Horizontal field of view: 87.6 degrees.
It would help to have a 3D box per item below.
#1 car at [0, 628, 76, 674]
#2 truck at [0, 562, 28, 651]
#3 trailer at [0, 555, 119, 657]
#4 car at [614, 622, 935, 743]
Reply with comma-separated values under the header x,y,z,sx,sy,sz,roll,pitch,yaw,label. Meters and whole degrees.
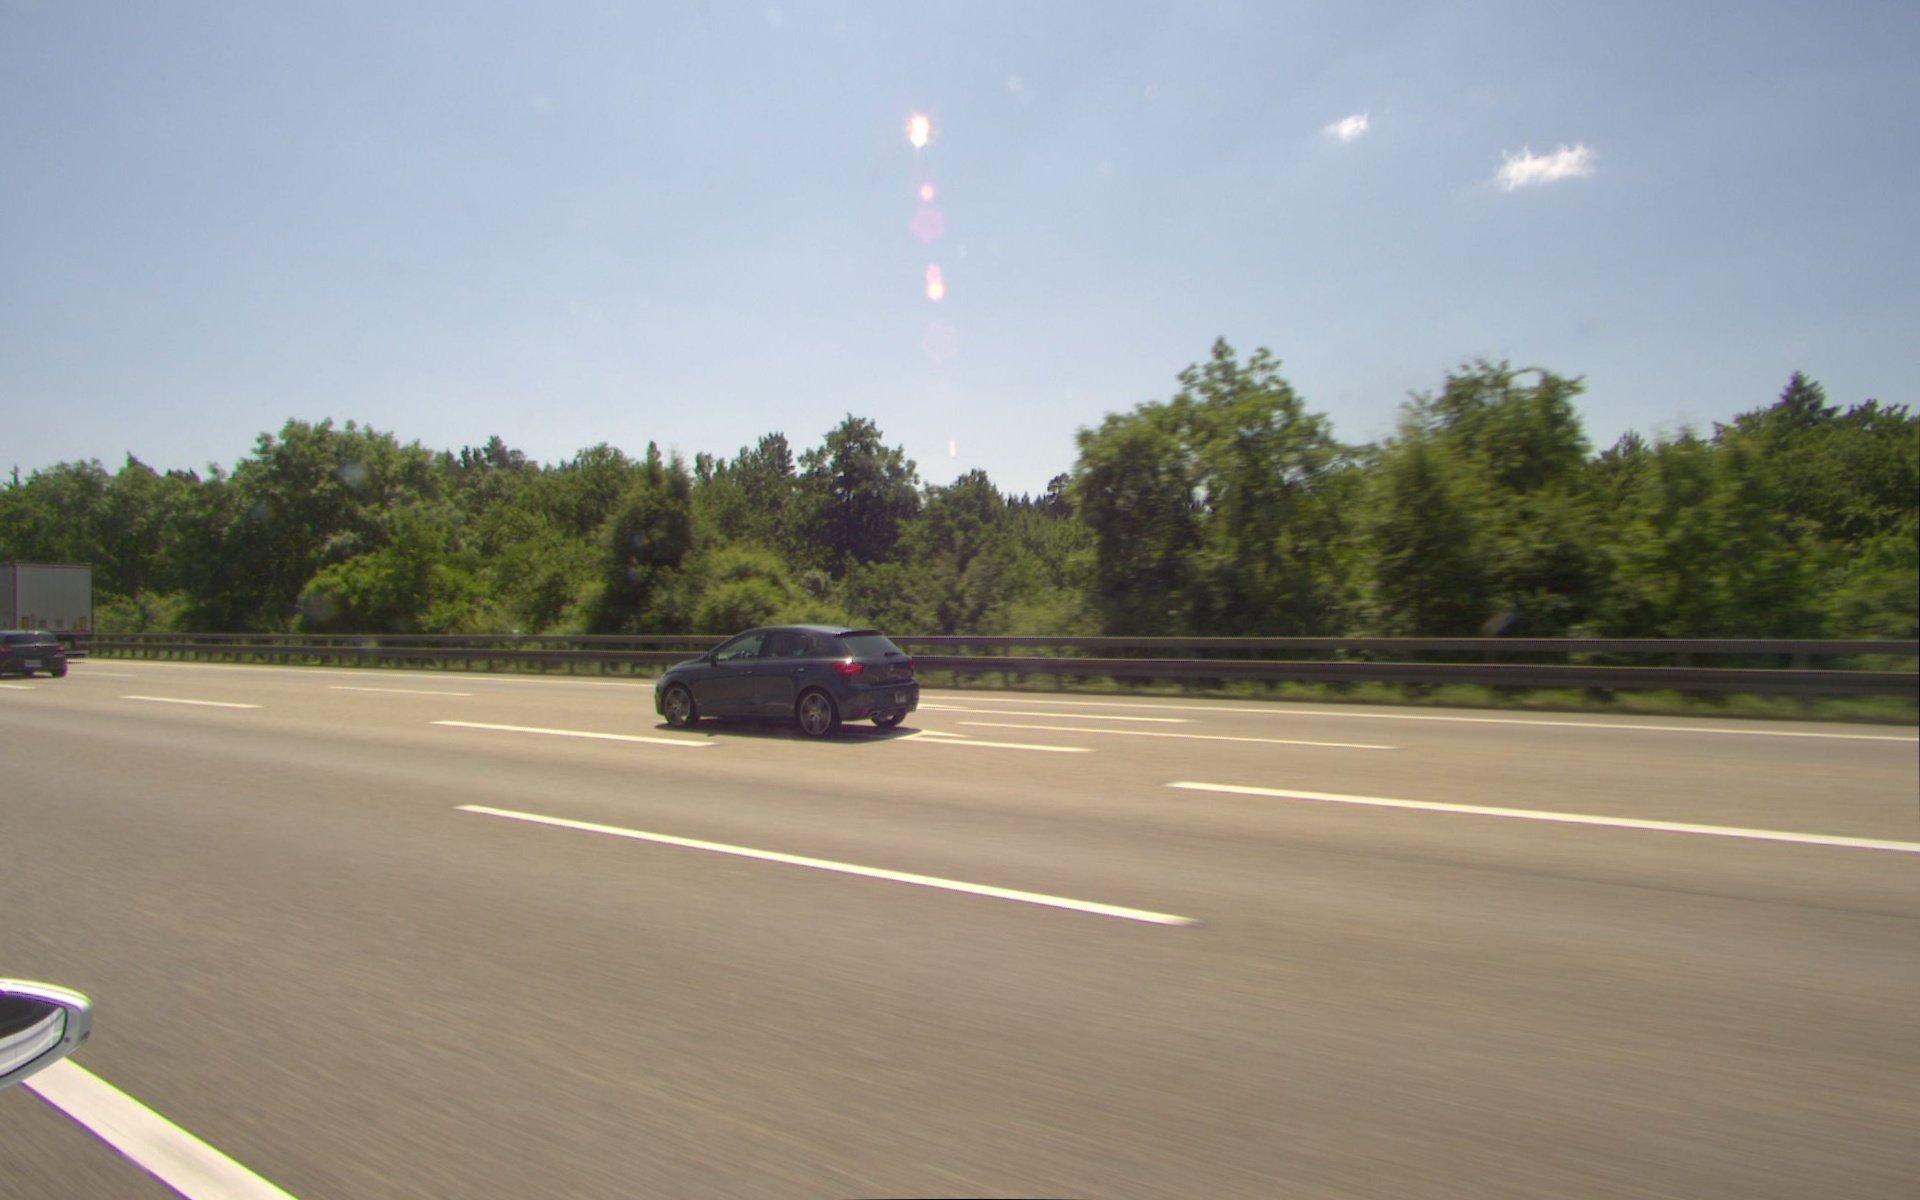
x,y,z,sx,sy,sz,roll,pitch,yaw,label
-28.468,1.553,30.163,4.230,1.289,1.668,-3,-3,32,car
-47.741,0.296,47.872,5.901,4.160,3.248,0,-1,32,truck
-42.065,0.309,44.373,13.689,3.982,3.282,0,-1,32,trailer
-2.700,1.047,14.130,4.568,1.457,1.640,0,-1,32,car
